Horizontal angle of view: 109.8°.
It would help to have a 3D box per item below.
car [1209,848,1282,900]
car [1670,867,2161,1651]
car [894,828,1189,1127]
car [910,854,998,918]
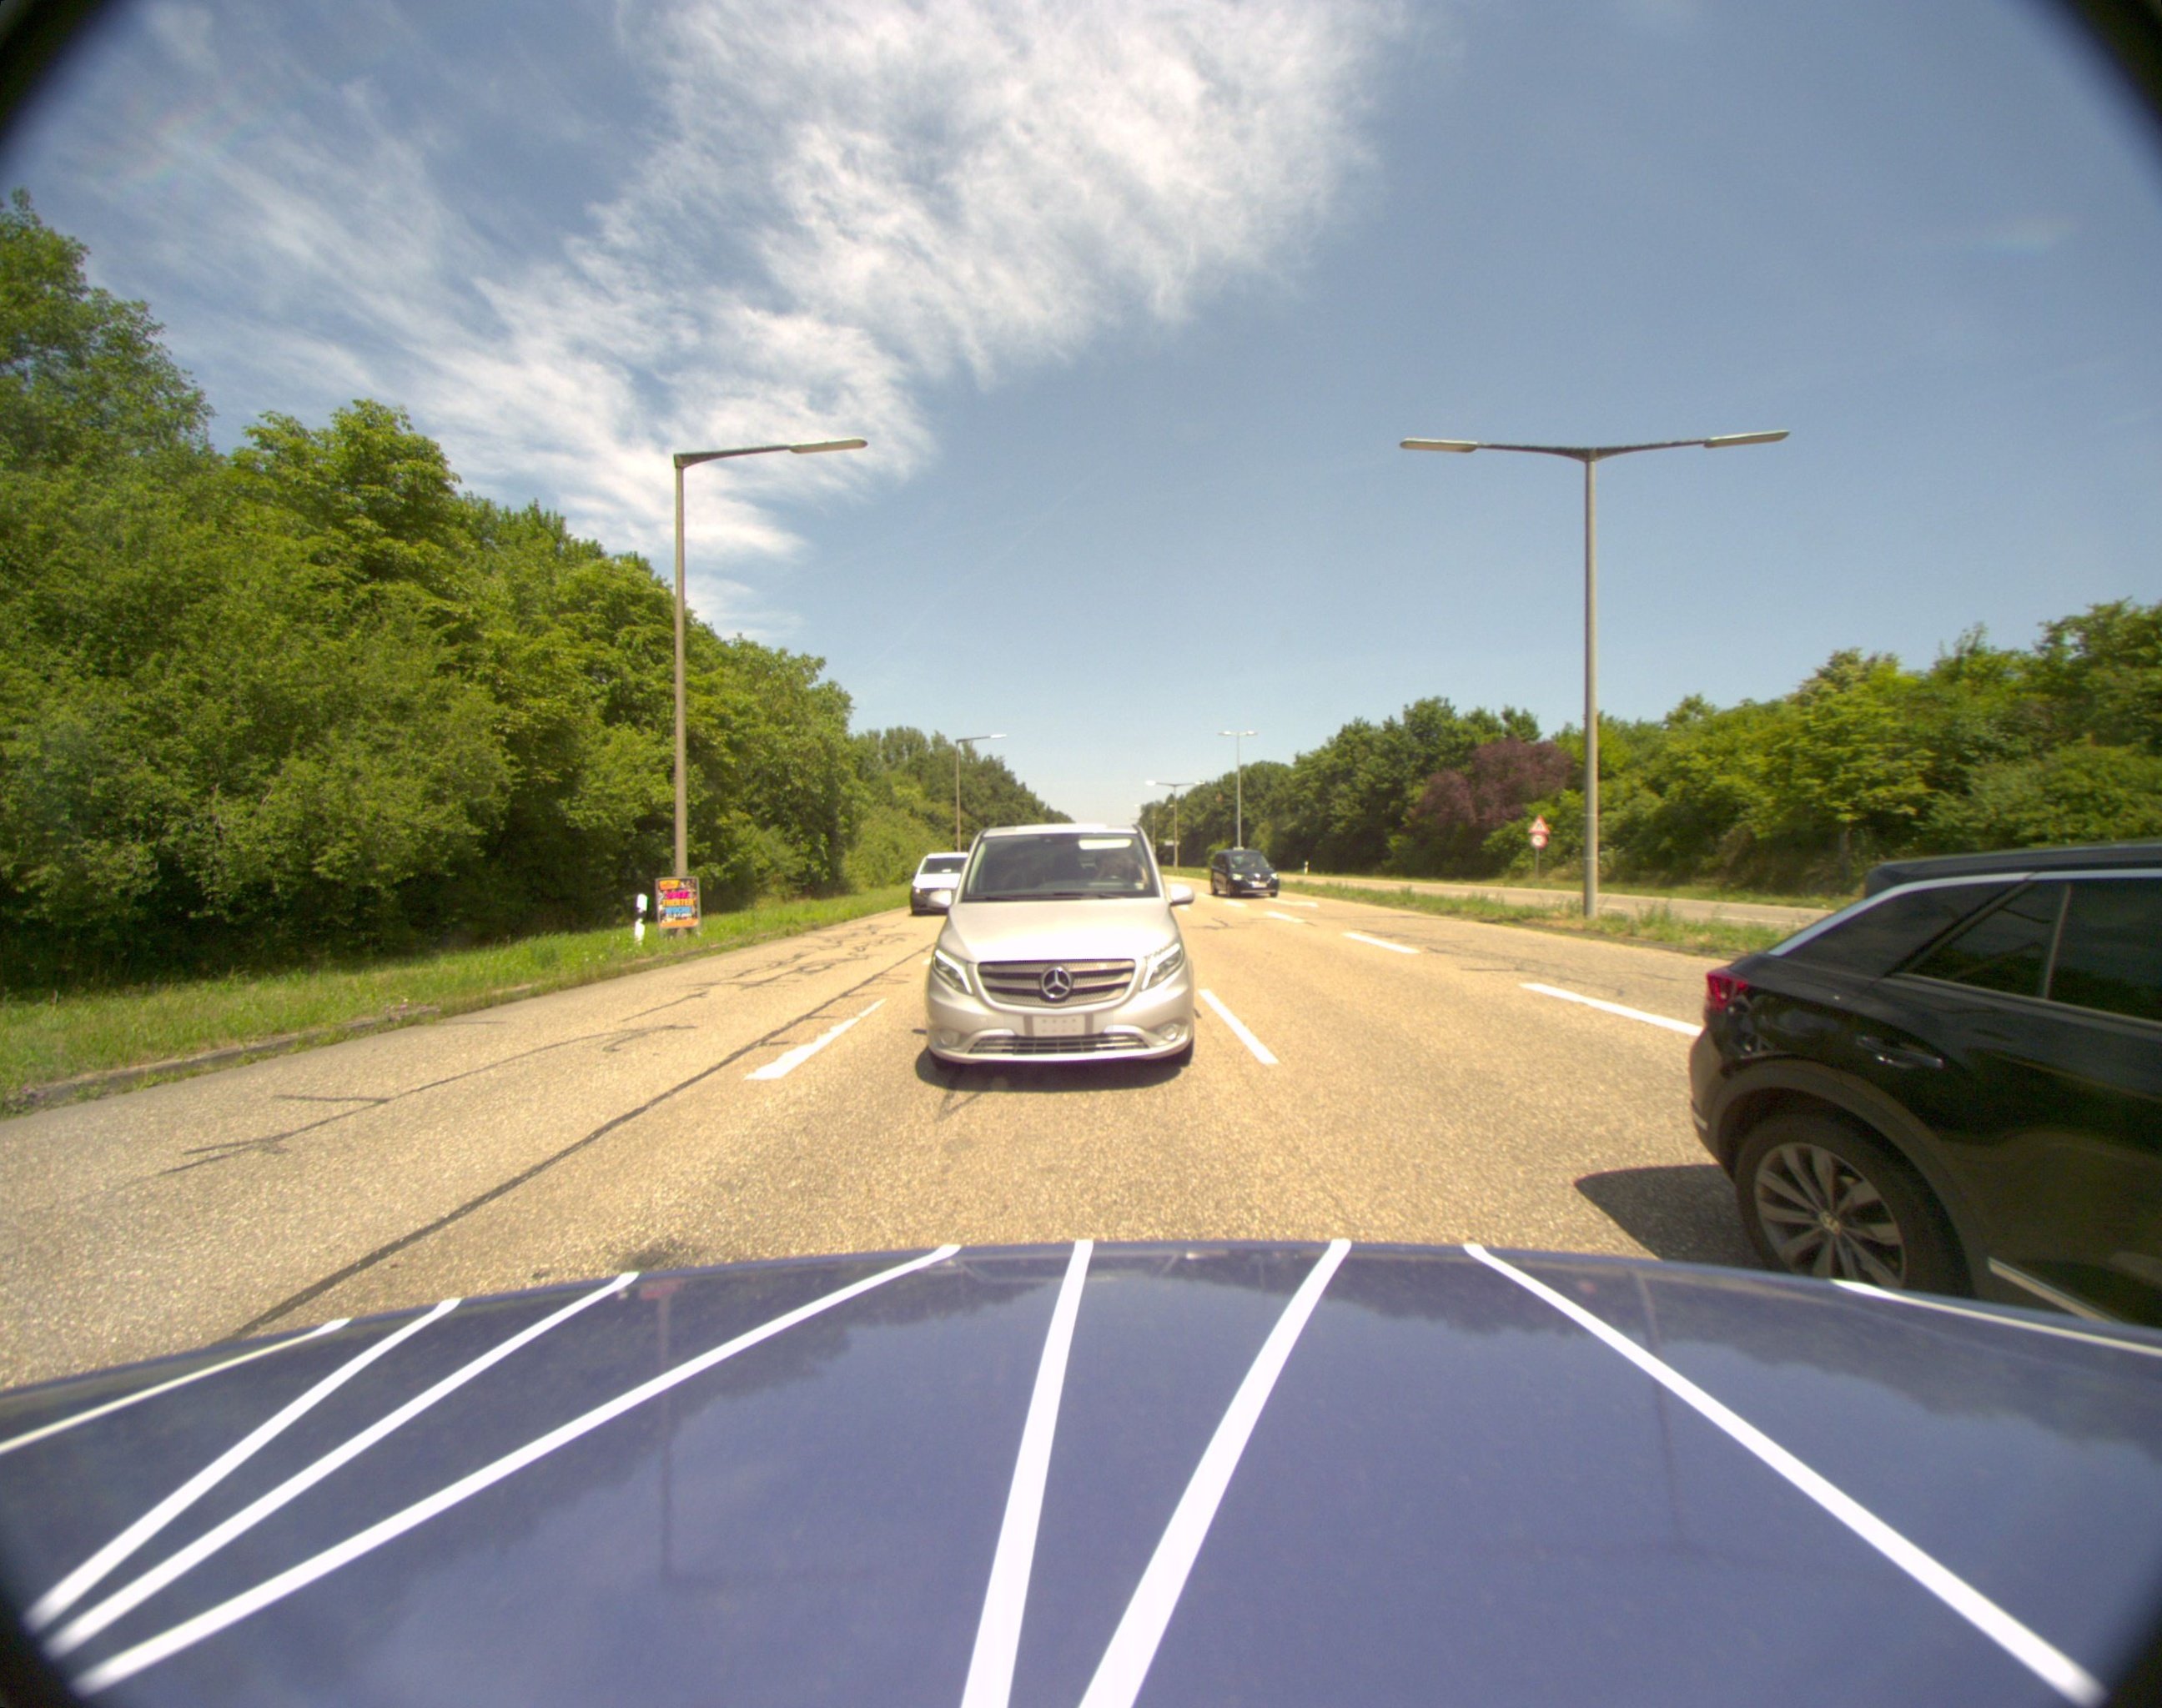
[{"bbox_3d":[6.198,0.708,29.110,1.736,1.815,4.321,-1,0,-1],"label":"car"},{"bbox_3d":[3.037,0.851,0.820,1.739,1.503,3.970,-2,1,1],"label":"car"},{"bbox_3d":[-0.214,0.767,7.137,1.764,1.794,4.855,-2,0,1],"label":"car"},{"bbox_3d":[-3.892,0.913,24.070,1.865,1.807,4.908,-1,0,1],"label":"car"}]
